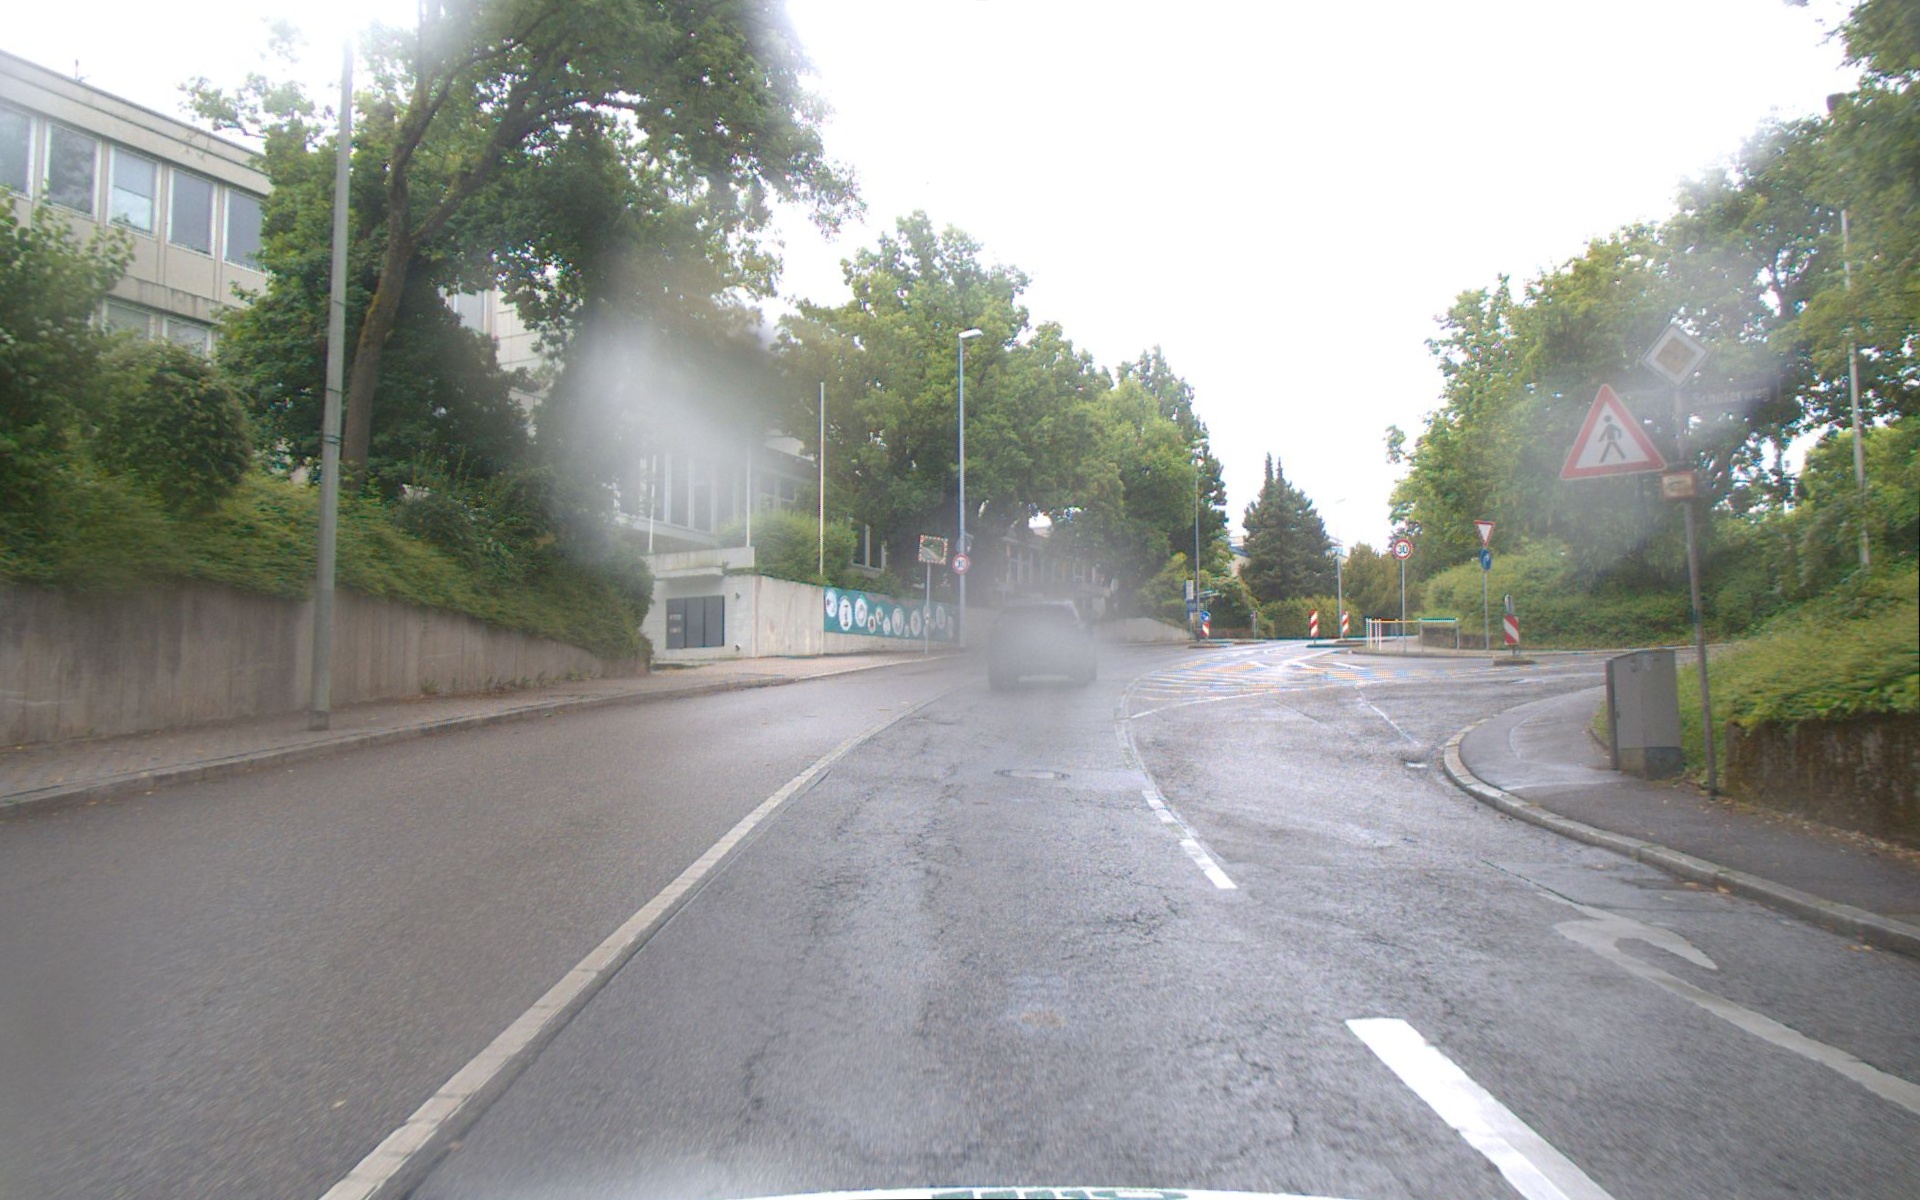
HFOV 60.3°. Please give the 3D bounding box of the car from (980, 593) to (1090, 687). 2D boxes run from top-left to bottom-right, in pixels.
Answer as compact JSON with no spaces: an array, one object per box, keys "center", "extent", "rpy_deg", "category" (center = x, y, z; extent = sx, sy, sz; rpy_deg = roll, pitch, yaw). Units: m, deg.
[{"center":[1.476,0.707,31.049],"extent":[1.887,1.641,4.002],"rpy_deg":[0,0,5],"category":"car"}]
